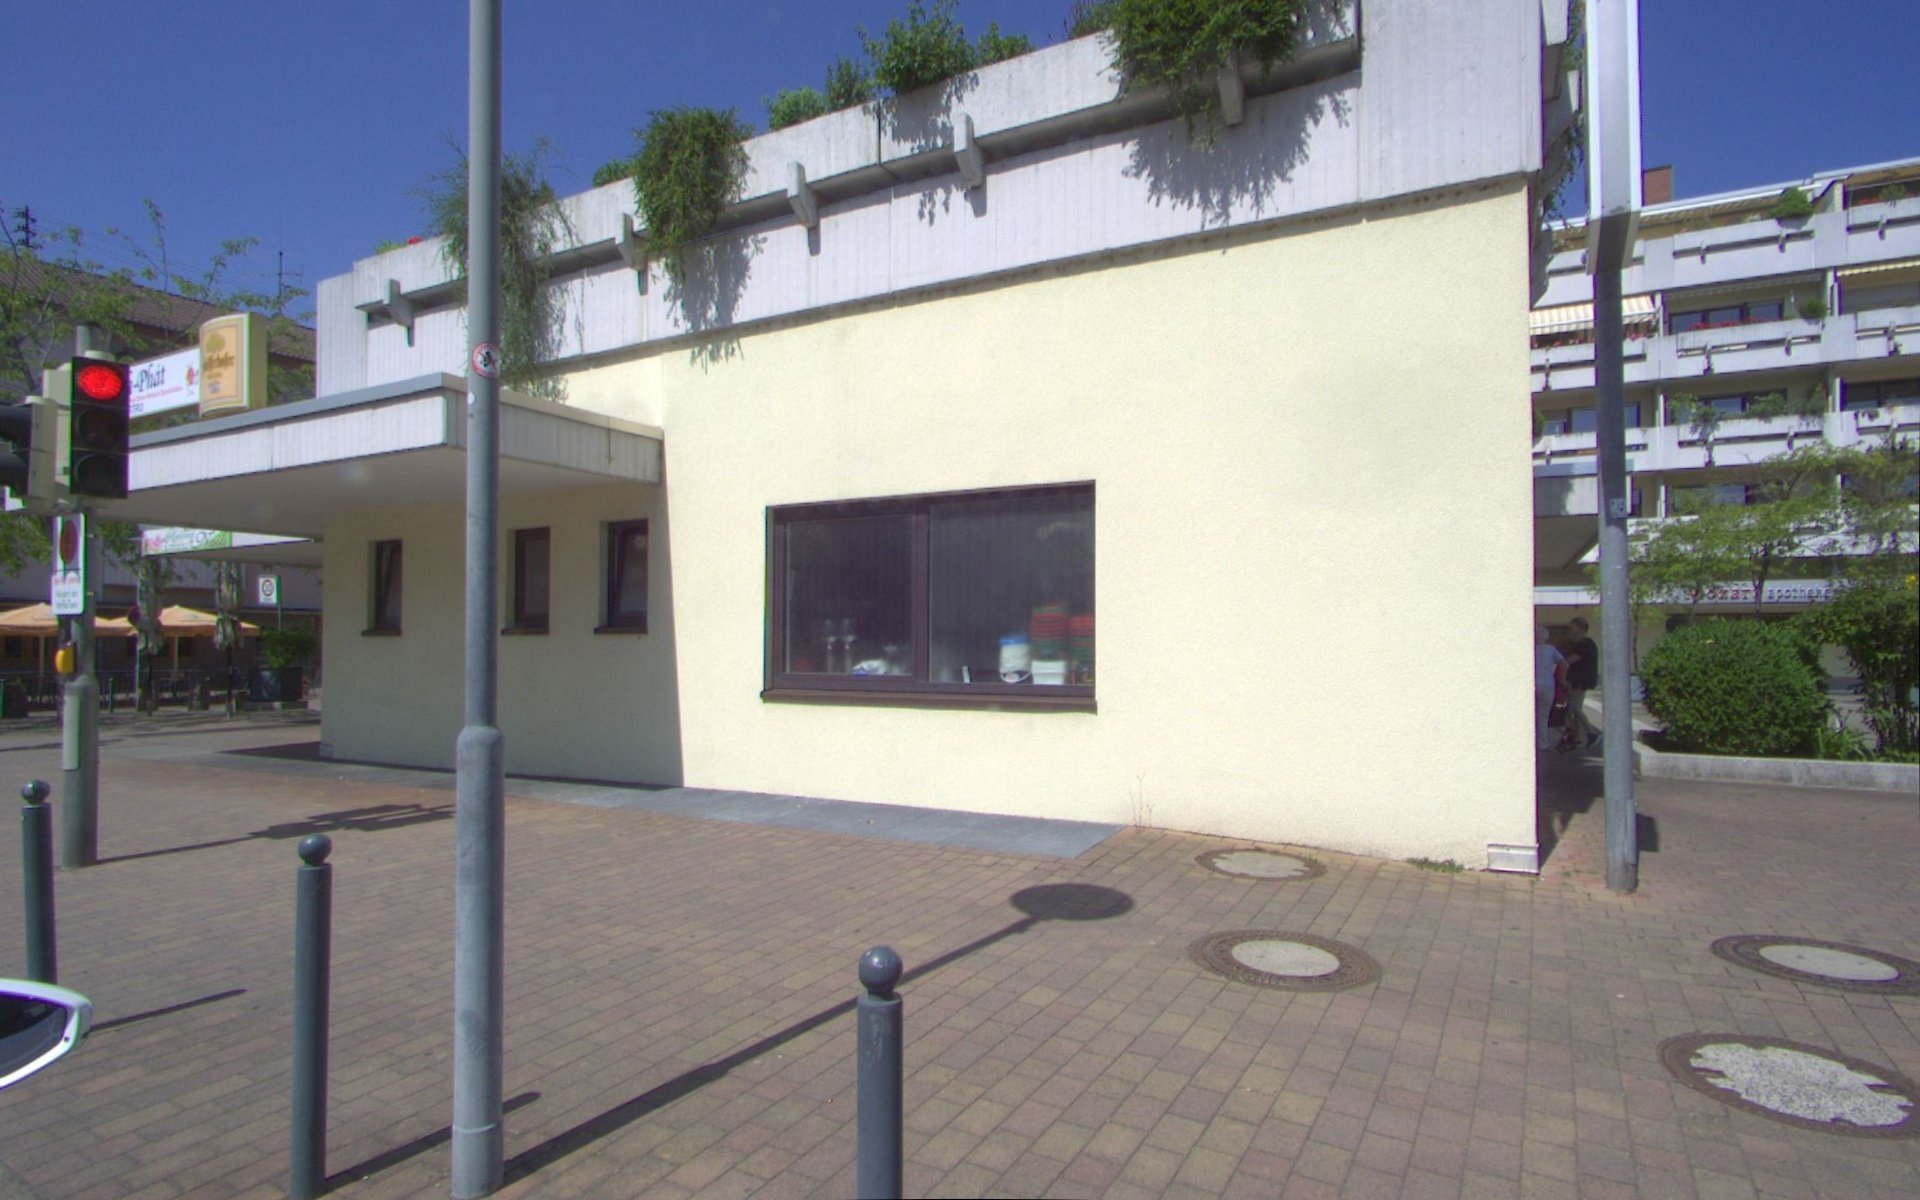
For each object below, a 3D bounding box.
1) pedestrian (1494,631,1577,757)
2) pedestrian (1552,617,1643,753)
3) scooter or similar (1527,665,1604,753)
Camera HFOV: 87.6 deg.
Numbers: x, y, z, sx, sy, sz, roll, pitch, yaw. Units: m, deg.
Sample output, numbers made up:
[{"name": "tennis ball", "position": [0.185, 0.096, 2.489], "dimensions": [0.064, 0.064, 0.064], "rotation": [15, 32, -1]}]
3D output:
[{"name": "pedestrian", "position": [7.266, 1.161, 12.636], "dimensions": [0.801, 1.516, 0.615], "rotation": [1, -2, -35]}, {"name": "pedestrian", "position": [8.536, 1.116, 13.442], "dimensions": [0.887, 1.758, 0.703], "rotation": [-1, -2, 21]}, {"name": "scooter or similar", "position": [7.917, 1.399, 13.090], "dimensions": [0.795, 1.088, 0.587], "rotation": [2, -2, -35]}]
